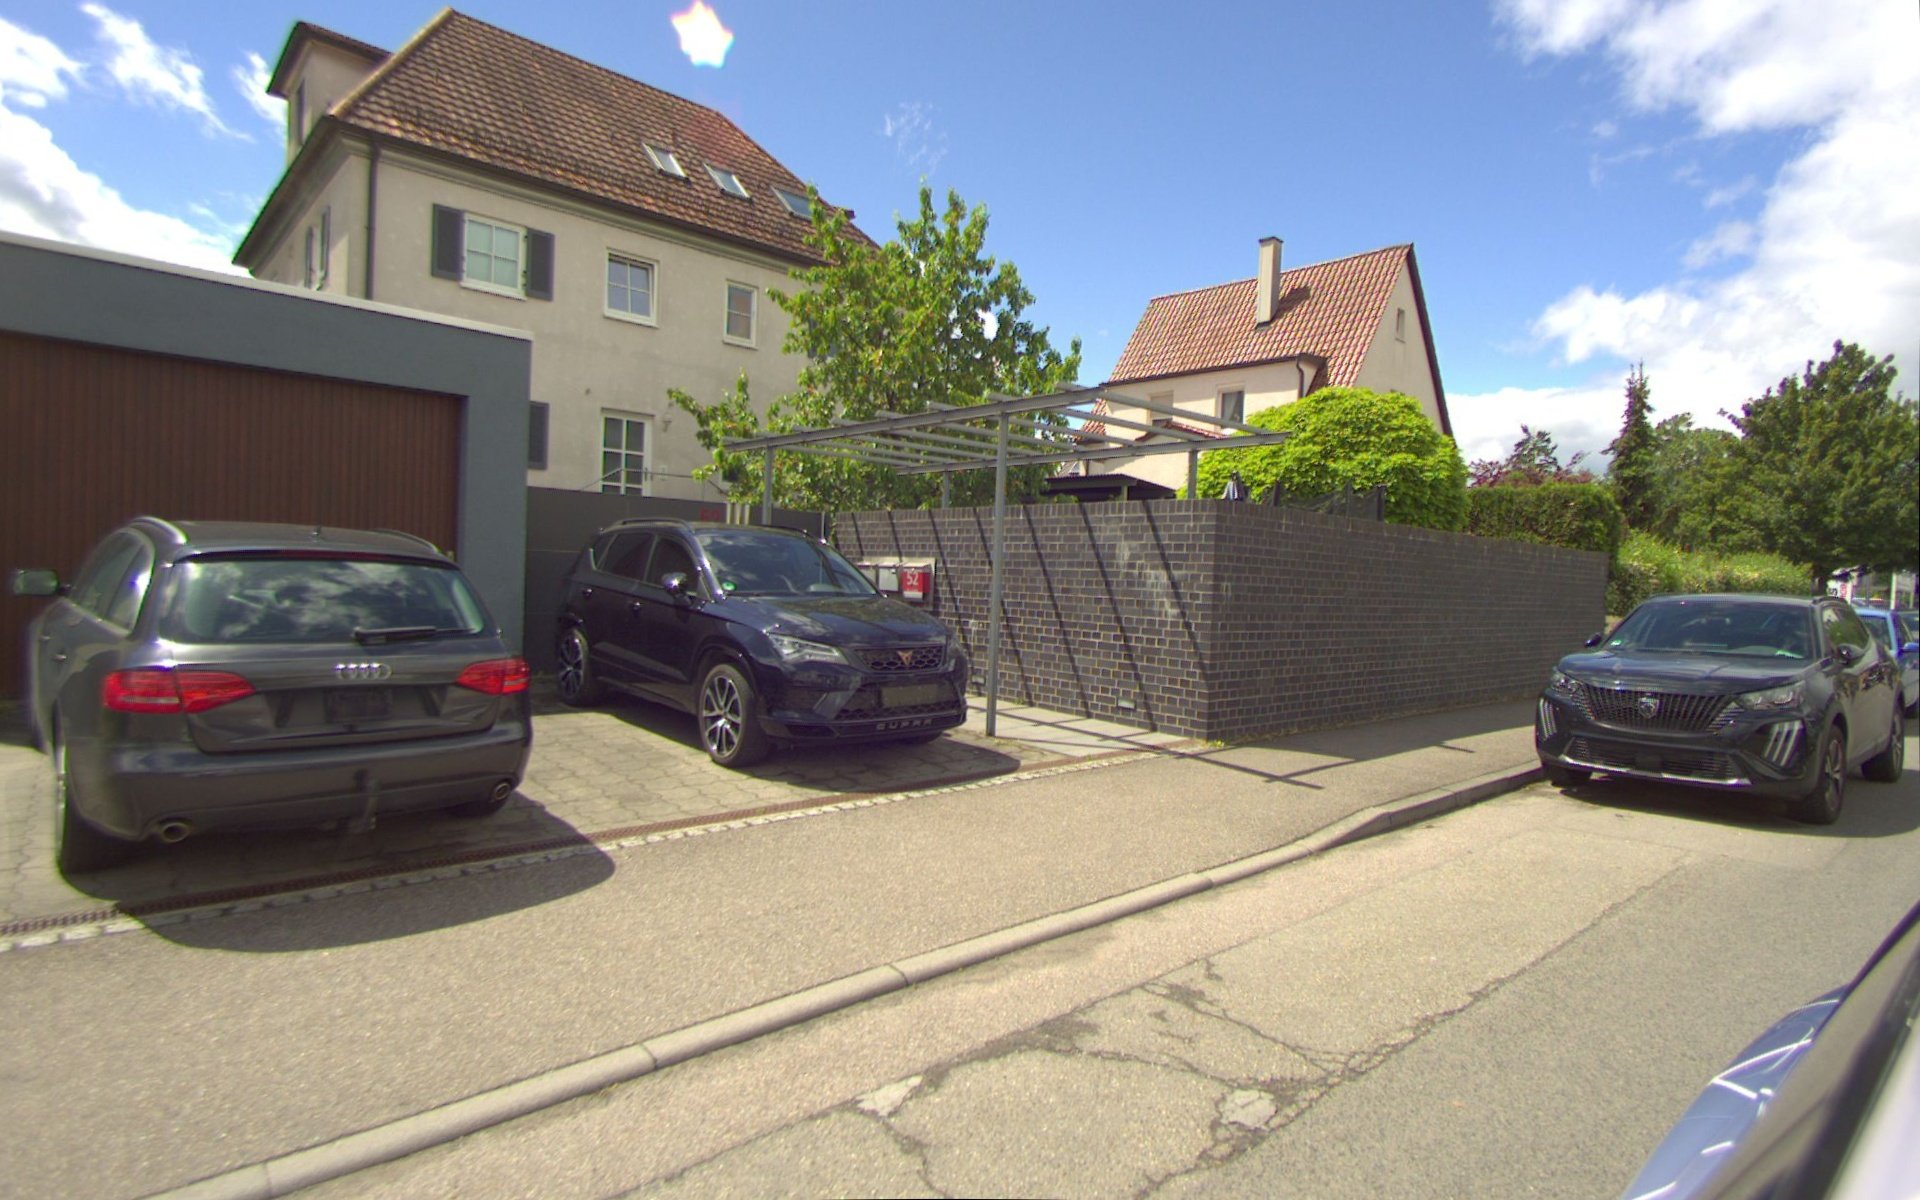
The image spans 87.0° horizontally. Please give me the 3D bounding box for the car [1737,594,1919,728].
[{"bbox_3d":[11.459,0.681,13.050,3.486,1.449,1.575,0,2,-41],"label":"car"}]

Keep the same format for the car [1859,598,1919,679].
[{"bbox_3d":[18.931,0.709,19.604,3.706,1.462,1.788,0,1,-41],"label":"car"}]

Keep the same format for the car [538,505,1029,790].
[{"bbox_3d":[-1.575,0.165,7.879,1.823,1.634,4.008,0,3,-44],"label":"car"}]

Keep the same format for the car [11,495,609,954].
[{"bbox_3d":[-3.844,0.244,5.546,1.942,1.423,4.414,0,5,-44],"label":"car"}]

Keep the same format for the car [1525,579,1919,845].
[{"bbox_3d":[6.321,0.648,8.110,4.241,1.576,1.788,0,1,-41],"label":"car"}]
